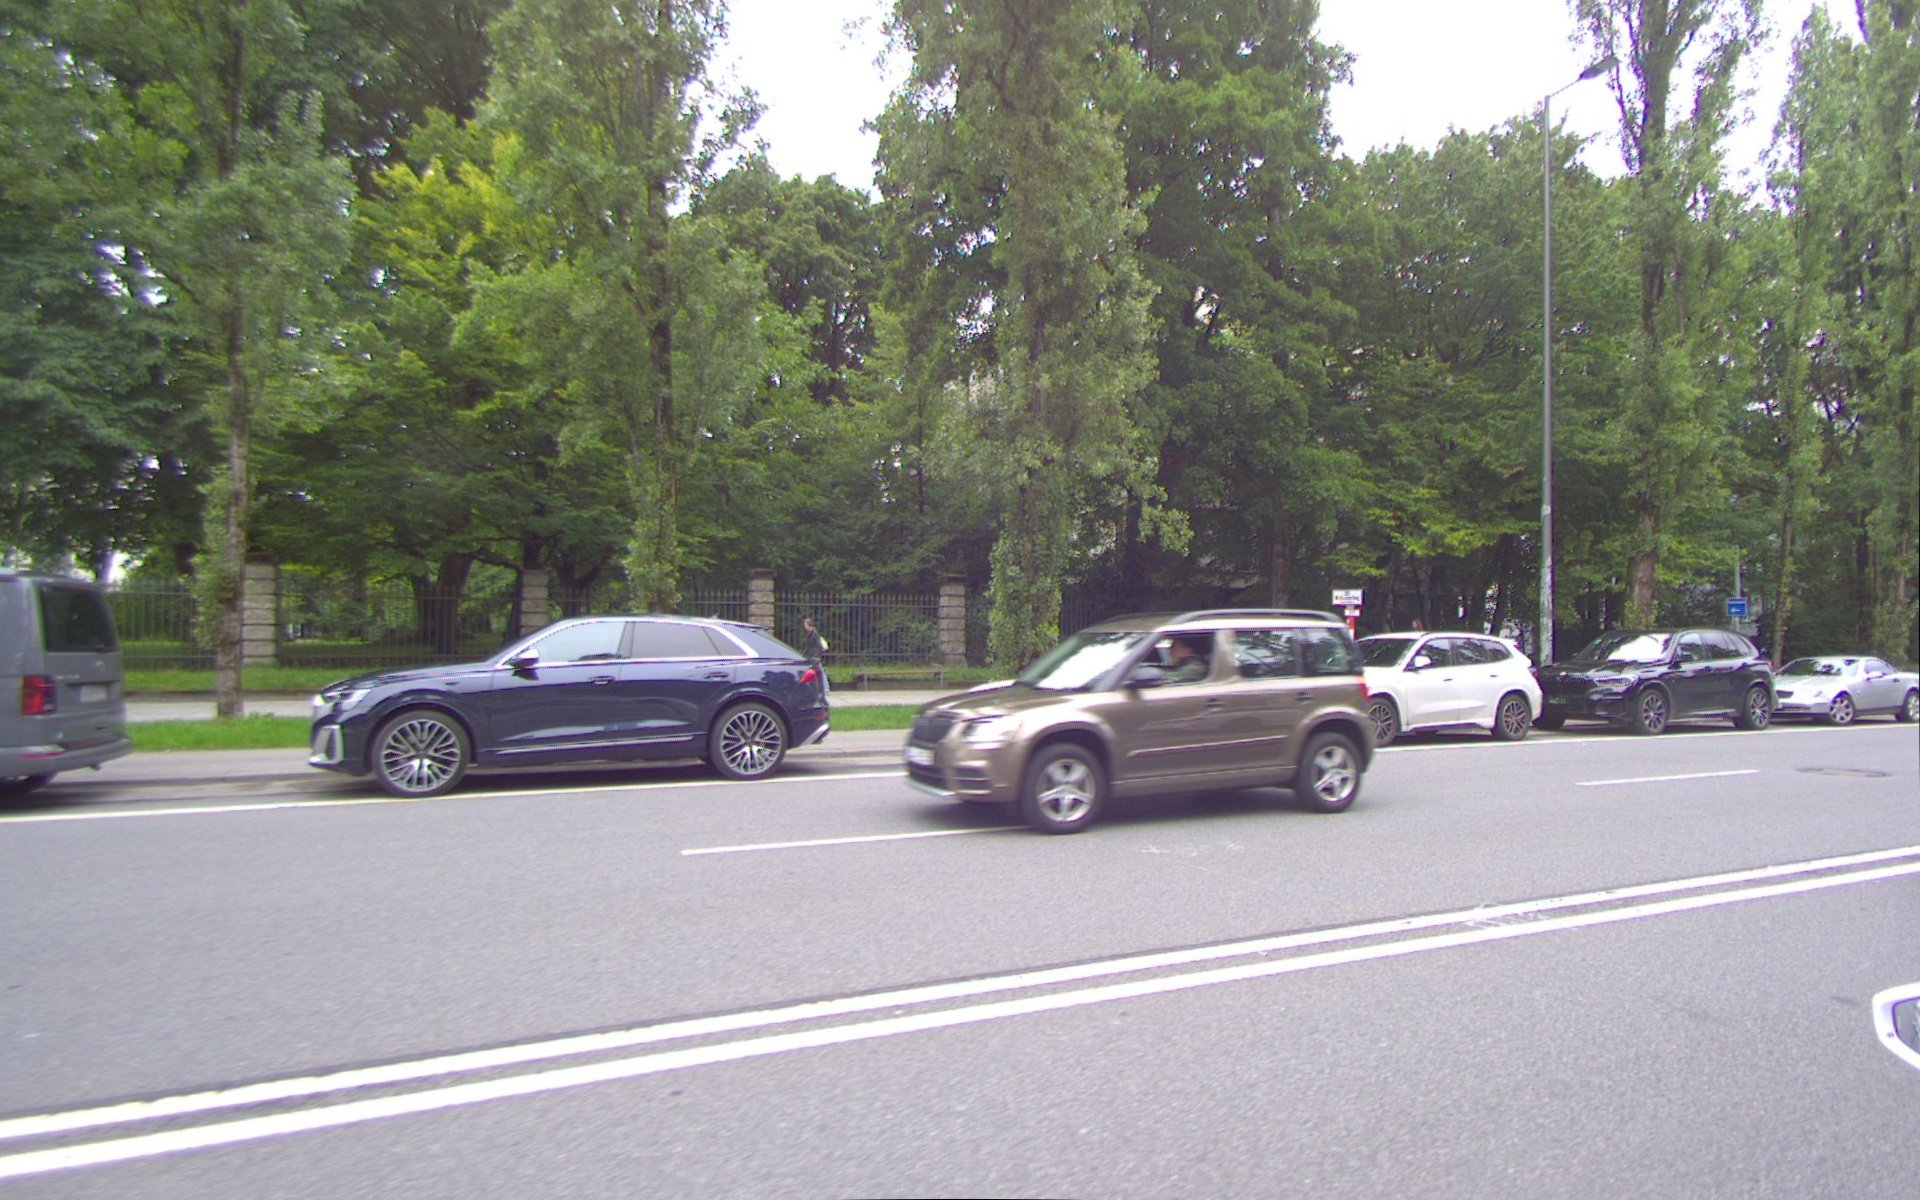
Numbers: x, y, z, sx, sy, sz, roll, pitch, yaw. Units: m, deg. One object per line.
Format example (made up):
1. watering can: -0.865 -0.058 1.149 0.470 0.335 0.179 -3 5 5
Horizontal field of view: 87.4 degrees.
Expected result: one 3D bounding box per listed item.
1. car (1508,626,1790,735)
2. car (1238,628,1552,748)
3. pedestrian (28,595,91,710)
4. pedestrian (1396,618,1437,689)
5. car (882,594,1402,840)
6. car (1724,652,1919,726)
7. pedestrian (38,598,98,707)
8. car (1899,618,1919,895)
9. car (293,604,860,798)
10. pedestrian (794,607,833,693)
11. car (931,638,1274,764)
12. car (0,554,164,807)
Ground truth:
1. car: 11.897 1.338 17.323 4.653 1.680 1.875 1 -4 -25
2. car: 6.546 1.262 15.128 4.397 1.609 1.782 1 -3 -23
3. pedestrian: -13.771 0.792 15.376 0.524 1.723 0.548 1 -1 -24
4. pedestrian: 12.062 1.401 26.555 0.764 1.839 0.638 1 -1 -23
5. car: 1.546 0.880 8.518 4.056 1.678 1.781 1 -3 -24
6. car: 17.055 1.687 19.641 3.971 1.321 1.577 1 -3 -23
7. pedestrian: -14.072 0.816 15.862 0.524 1.691 0.548 1 -1 -24
8. car: 7.510 0.896 5.486 4.518 1.474 1.821 2 0 -23
9. car: -3.682 0.963 10.325 4.982 1.629 1.811 2 -4 -24
10. pedestrian: -3.085 1.051 21.131 0.663 1.771 0.548 1 -1 -24
11. car: 1.870 1.245 13.067 4.178 1.440 1.672 2 -3 -24
12. car: -9.716 0.634 7.993 4.868 1.982 1.989 1 -3 -24
